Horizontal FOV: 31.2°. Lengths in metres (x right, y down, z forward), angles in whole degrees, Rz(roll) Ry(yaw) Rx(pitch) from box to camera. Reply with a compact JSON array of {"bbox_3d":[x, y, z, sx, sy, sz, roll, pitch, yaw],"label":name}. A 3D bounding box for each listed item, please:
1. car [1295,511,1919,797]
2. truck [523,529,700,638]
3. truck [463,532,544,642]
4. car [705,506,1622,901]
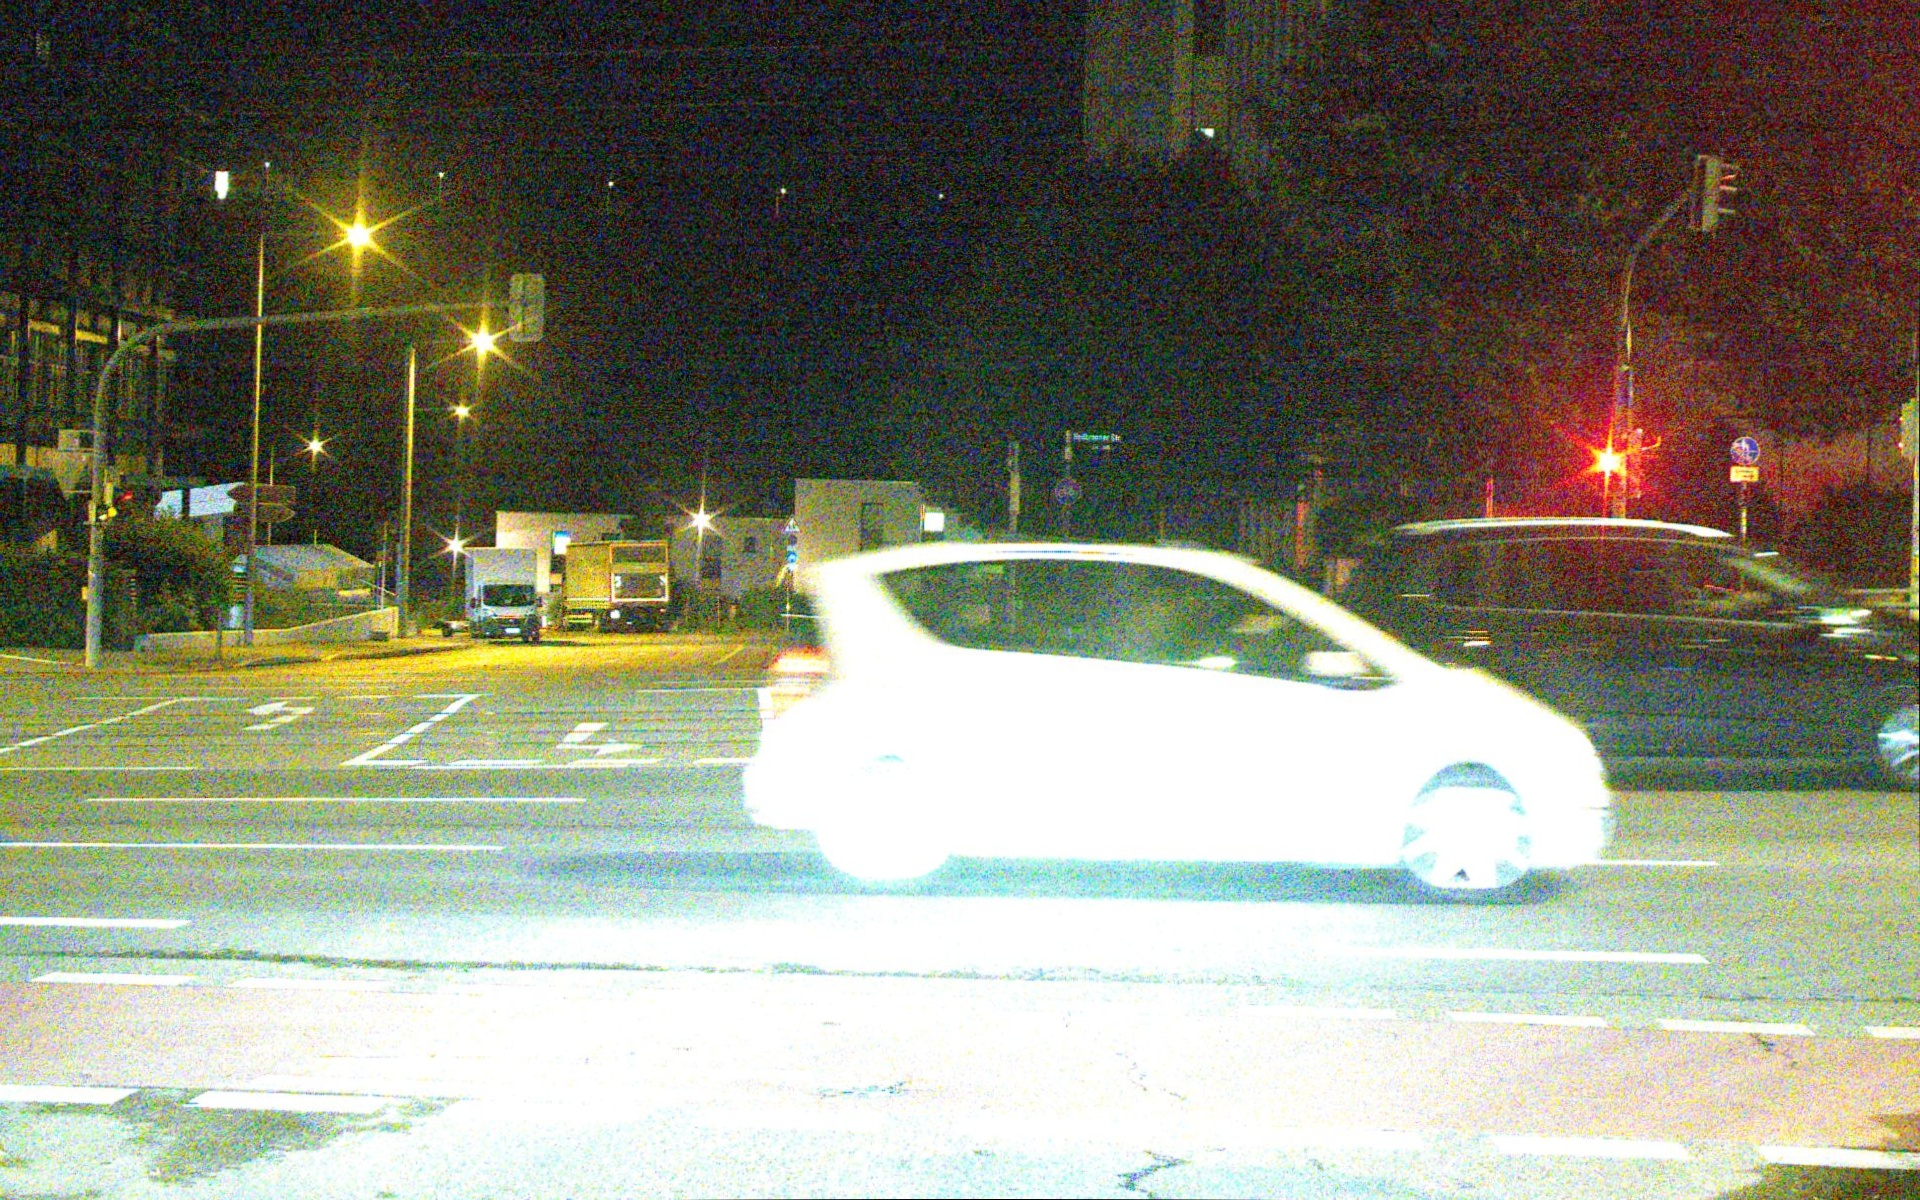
[{"bbox_3d":[4.381,0.303,21.524,4.446,1.654,1.864,-1,2,3],"label":"car"},{"bbox_3d":[-15.462,-0.764,151.232,4.821,4.531,12.669,1,1,-19],"label":"truck"},{"bbox_3d":[-15.880,-0.473,119.374,2.582,3.694,5.739,1,1,-9],"label":"truck"},{"bbox_3d":[0.924,0.430,15.966,3.987,1.657,1.810,1,1,3],"label":"car"}]
